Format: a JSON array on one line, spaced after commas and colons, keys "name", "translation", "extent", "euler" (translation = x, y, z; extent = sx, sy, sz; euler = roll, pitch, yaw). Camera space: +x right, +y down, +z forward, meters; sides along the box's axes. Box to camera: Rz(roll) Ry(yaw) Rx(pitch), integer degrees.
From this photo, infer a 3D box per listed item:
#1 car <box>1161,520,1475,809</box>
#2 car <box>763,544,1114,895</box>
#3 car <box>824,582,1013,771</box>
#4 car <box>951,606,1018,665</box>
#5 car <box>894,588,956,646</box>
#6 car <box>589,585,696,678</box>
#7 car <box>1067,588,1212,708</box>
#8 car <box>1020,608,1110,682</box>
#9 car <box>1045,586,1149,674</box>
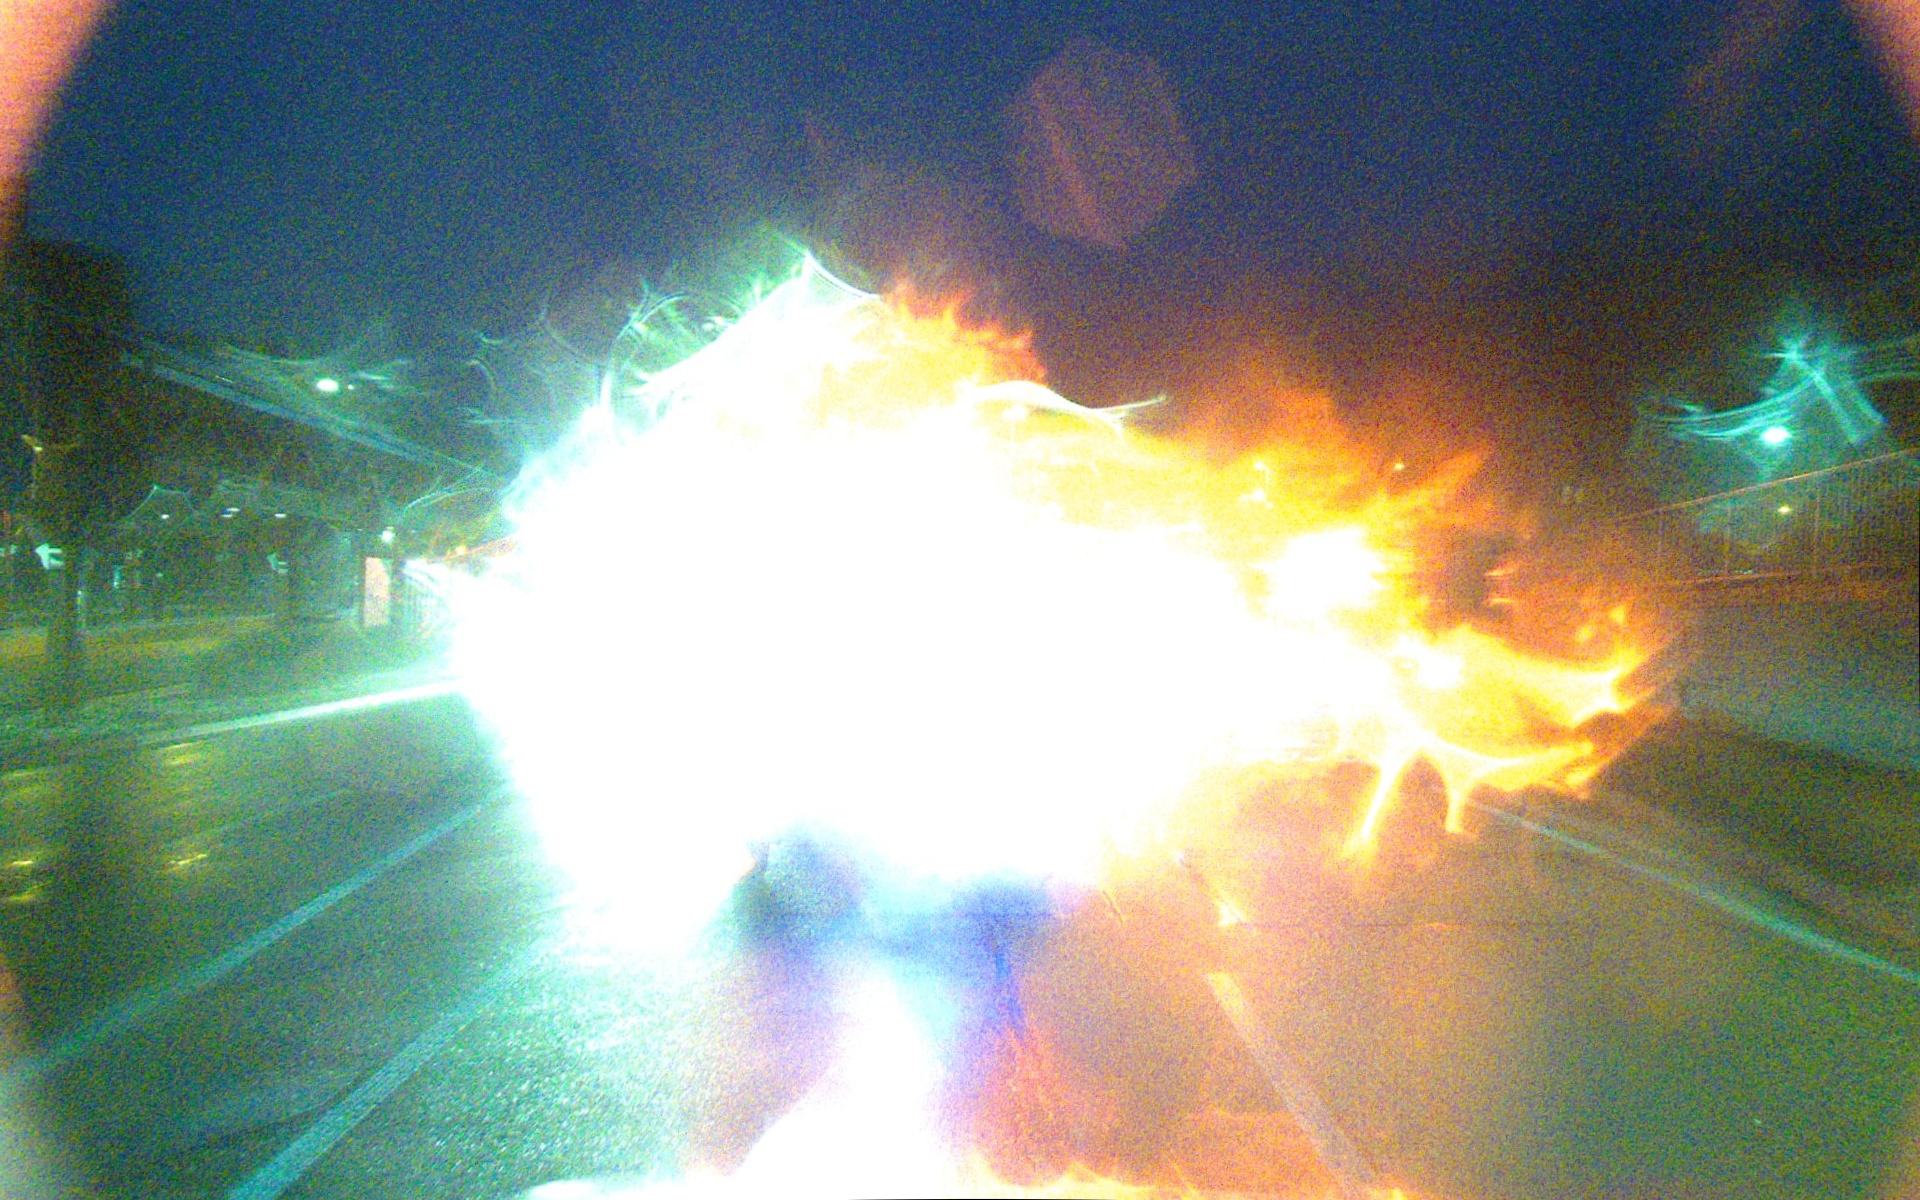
[{"name": "car", "translation": [2.758, 0.426, 13.684], "extent": [1.901, 2.006, 4.220], "euler": [0, 1, 3]}, {"name": "car", "translation": [-0.126, 0.579, 9.846], "extent": [1.660, 1.658, 3.852], "euler": [1, 0, -1]}, {"name": "car", "translation": [-0.385, 0.673, 16.821], "extent": [1.674, 1.666, 3.730], "euler": [-1, 1, 0]}, {"name": "car", "translation": [0.607, 0.901, 43.623], "extent": [1.629, 1.475, 4.048], "euler": [0, 0, -1]}, {"name": "car", "translation": [-1.110, 0.481, 50.938], "extent": [1.675, 1.666, 3.727], "euler": [-1, 1, -4]}, {"name": "car", "translation": [-7.096, 0.653, 37.334], "extent": [1.955, 1.945, 4.737], "euler": [0, 0, -6]}, {"name": "car", "translation": [2.392, 0.591, 22.897], "extent": [1.731, 1.475, 4.220], "euler": [0, 1, 2]}, {"name": "car", "translation": [2.275, 0.957, 36.674], "extent": [1.629, 1.475, 4.049], "euler": [0, 1, -1]}, {"name": "car", "translation": [2.440, 0.521, 30.182], "extent": [1.629, 1.475, 4.050], "euler": [0, 0, 1]}]
